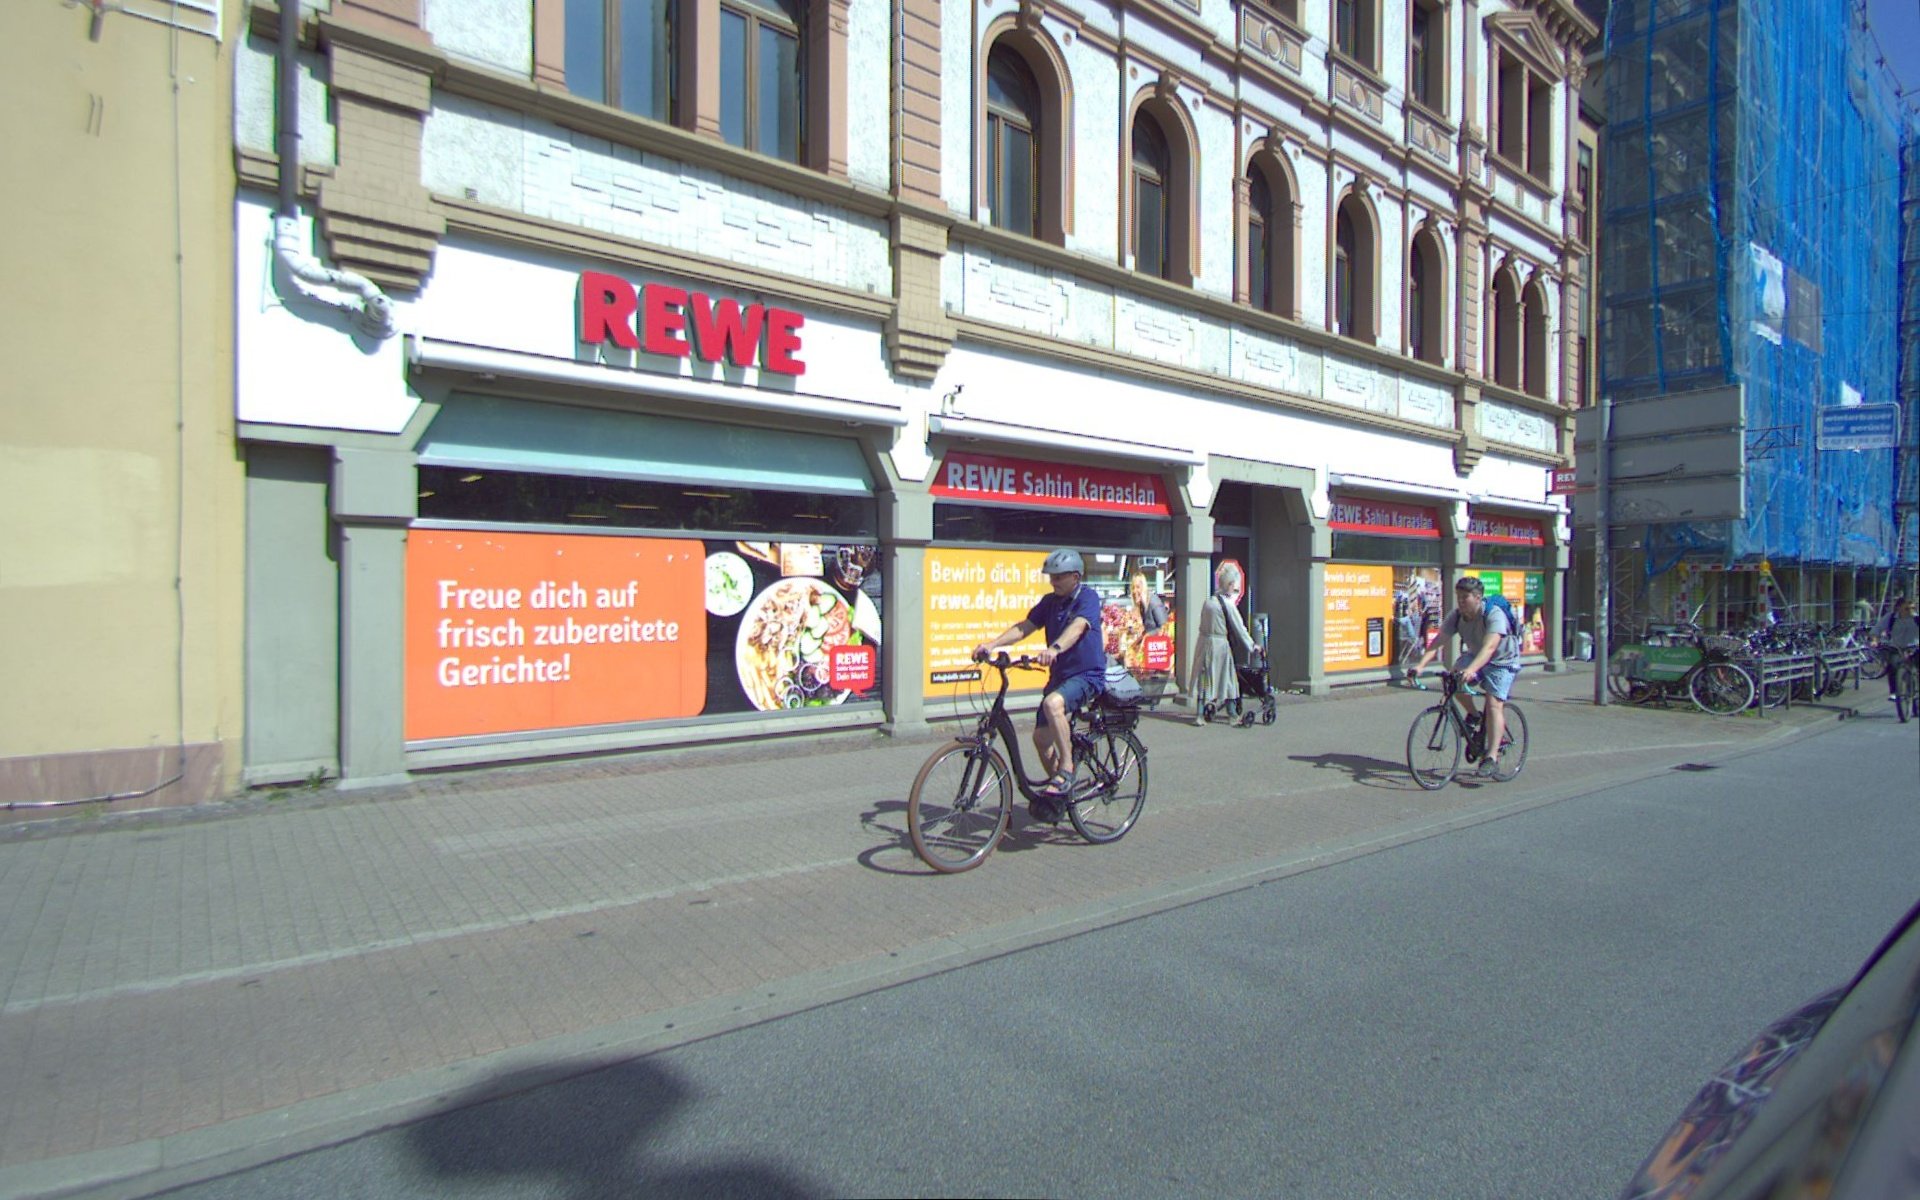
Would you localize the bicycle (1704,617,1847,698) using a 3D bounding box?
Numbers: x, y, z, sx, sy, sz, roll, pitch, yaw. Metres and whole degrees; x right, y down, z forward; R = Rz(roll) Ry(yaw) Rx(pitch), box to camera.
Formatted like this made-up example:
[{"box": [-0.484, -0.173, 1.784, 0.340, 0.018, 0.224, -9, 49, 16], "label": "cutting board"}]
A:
[{"box": [12.893, 0.882, 16.042, 0.451, 1.193, 1.697, 0, 0, -38], "label": "bicycle"}]

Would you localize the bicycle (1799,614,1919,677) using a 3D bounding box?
[{"box": [17.942, 0.889, 20.227, 0.597, 1.193, 1.697, 0, 0, -38], "label": "bicycle"}]

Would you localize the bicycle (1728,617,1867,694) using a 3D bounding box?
[{"box": [13.768, 0.883, 16.686, 0.449, 1.193, 1.697, 0, 0, -38], "label": "bicycle"}]

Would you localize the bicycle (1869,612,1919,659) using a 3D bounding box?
[{"box": [24.863, 0.913, 26.338, 0.597, 1.193, 1.697, 0, 0, -38], "label": "bicycle"}]

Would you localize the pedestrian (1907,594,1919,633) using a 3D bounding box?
[{"box": [44.358, 0.611, 46.789, 0.966, 1.803, 0.670, -1, 1, -35], "label": "pedestrian"}]

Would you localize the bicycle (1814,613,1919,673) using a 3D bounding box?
[{"box": [19.126, 0.883, 21.207, 0.597, 1.193, 1.775, 0, 0, -38], "label": "bicycle"}]

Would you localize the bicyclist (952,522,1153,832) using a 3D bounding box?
[{"box": [0.537, 0.408, 5.903, 0.901, 1.637, 0.690, 0, -1, -36], "label": "bicyclist"}]

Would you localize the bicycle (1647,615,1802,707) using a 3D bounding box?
[{"box": [11.095, 0.848, 14.732, 0.597, 1.193, 1.698, 1, 1, -38], "label": "bicycle"}]

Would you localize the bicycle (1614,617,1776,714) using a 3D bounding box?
[{"box": [10.098, 0.864, 13.956, 0.597, 1.193, 1.698, 1, 0, -38], "label": "bicycle"}]

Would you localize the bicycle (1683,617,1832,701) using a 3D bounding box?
[{"box": [12.028, 0.860, 15.306, 0.461, 1.193, 1.697, 0, 0, -38], "label": "bicycle"}]

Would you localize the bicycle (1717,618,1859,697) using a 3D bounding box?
[{"box": [13.350, 0.898, 16.357, 0.504, 1.193, 1.697, 0, 0, -38], "label": "bicycle"}]

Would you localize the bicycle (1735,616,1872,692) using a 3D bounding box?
[{"box": [14.155, 0.875, 17.019, 0.455, 1.193, 1.697, 0, 0, -38], "label": "bicycle"}]

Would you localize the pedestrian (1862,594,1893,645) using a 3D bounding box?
[{"box": [29.602, 0.622, 32.651, 0.643, 1.622, 0.753, -2, -2, 45], "label": "pedestrian"}]

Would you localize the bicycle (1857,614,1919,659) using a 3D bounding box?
[{"box": [23.730, 0.910, 25.431, 0.597, 1.111, 1.697, 0, 0, -38], "label": "bicycle"}]

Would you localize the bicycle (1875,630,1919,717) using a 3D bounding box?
[{"box": [13.392, 0.992, 14.068, 1.864, 1.107, 0.735, -1, -1, -41], "label": "bicycle"}]

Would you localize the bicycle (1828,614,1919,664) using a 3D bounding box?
[{"box": [22.057, 0.917, 24.299, 0.597, 1.123, 1.743, 0, 0, -38], "label": "bicycle"}]

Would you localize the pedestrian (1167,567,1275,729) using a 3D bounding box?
[{"box": [2.882, 0.485, 11.192, 0.822, 1.675, 0.757, -1, 4, -40], "label": "pedestrian"}]

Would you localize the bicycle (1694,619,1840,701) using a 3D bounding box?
[{"box": [12.463, 0.894, 15.673, 0.451, 1.193, 1.697, 0, 0, -38], "label": "bicycle"}]

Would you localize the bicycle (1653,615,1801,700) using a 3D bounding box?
[{"box": [11.474, 0.824, 15.198, 0.461, 1.193, 1.697, 0, 0, -38], "label": "bicycle"}]

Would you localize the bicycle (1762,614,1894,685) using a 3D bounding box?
[{"box": [15.383, 0.856, 17.971, 0.488, 1.193, 1.697, 0, 0, -38], "label": "bicycle"}]

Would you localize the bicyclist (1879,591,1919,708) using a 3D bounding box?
[{"box": [13.386, 0.669, 14.085, 0.764, 1.597, 0.750, 0, -1, -40], "label": "bicyclist"}]

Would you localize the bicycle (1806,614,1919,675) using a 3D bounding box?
[{"box": [18.483, 0.886, 20.712, 0.597, 1.193, 1.697, 0, 0, -38], "label": "bicycle"}]

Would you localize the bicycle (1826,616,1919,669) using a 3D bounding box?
[{"box": [20.277, 0.921, 22.307, 0.597, 1.101, 1.697, 0, 0, -38], "label": "bicycle"}]

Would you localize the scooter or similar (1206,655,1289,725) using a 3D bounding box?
[{"box": [3.279, 1.015, 11.563, 0.555, 0.658, 0.693, -1, 4, -40], "label": "scooter or similar"}]

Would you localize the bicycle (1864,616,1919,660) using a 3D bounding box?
[{"box": [24.317, 0.962, 25.883, 0.597, 1.111, 1.697, 0, 0, -38], "label": "bicycle"}]

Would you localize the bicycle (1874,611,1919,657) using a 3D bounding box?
[{"box": [25.383, 0.883, 26.762, 0.597, 1.193, 1.697, 0, 0, -38], "label": "bicycle"}]

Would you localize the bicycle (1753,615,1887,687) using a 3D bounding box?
[{"box": [14.953, 0.857, 17.638, 0.482, 1.193, 1.697, 0, 0, -38], "label": "bicycle"}]

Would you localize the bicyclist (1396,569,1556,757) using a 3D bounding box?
[{"box": [4.367, 0.491, 8.568, 1.121, 1.481, 0.691, -1, -1, -32], "label": "bicyclist"}]

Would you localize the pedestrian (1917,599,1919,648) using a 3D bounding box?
[{"box": [35.952, 0.872, 37.455, 0.637, 1.799, 0.640, 0, -2, -39], "label": "pedestrian"}]

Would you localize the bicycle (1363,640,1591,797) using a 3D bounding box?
[{"box": [4.414, 0.936, 8.582, 2.089, 1.107, 0.736, -1, -1, -32], "label": "bicycle"}]

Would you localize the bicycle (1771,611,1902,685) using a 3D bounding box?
[{"box": [15.847, 0.837, 18.333, 0.597, 1.257, 1.697, 0, 0, -38], "label": "bicycle"}]

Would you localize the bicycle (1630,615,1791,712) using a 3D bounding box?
[{"box": [10.590, 0.860, 14.334, 0.597, 1.193, 1.698, 1, 2, -38], "label": "bicycle"}]

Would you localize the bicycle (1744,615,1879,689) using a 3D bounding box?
[{"box": [14.539, 0.857, 17.325, 0.443, 1.193, 1.697, 0, 0, -38], "label": "bicycle"}]

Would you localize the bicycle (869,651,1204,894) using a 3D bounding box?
[{"box": [0.481, 0.896, 5.859, 1.875, 1.107, 0.736, -1, -1, -35], "label": "bicycle"}]
